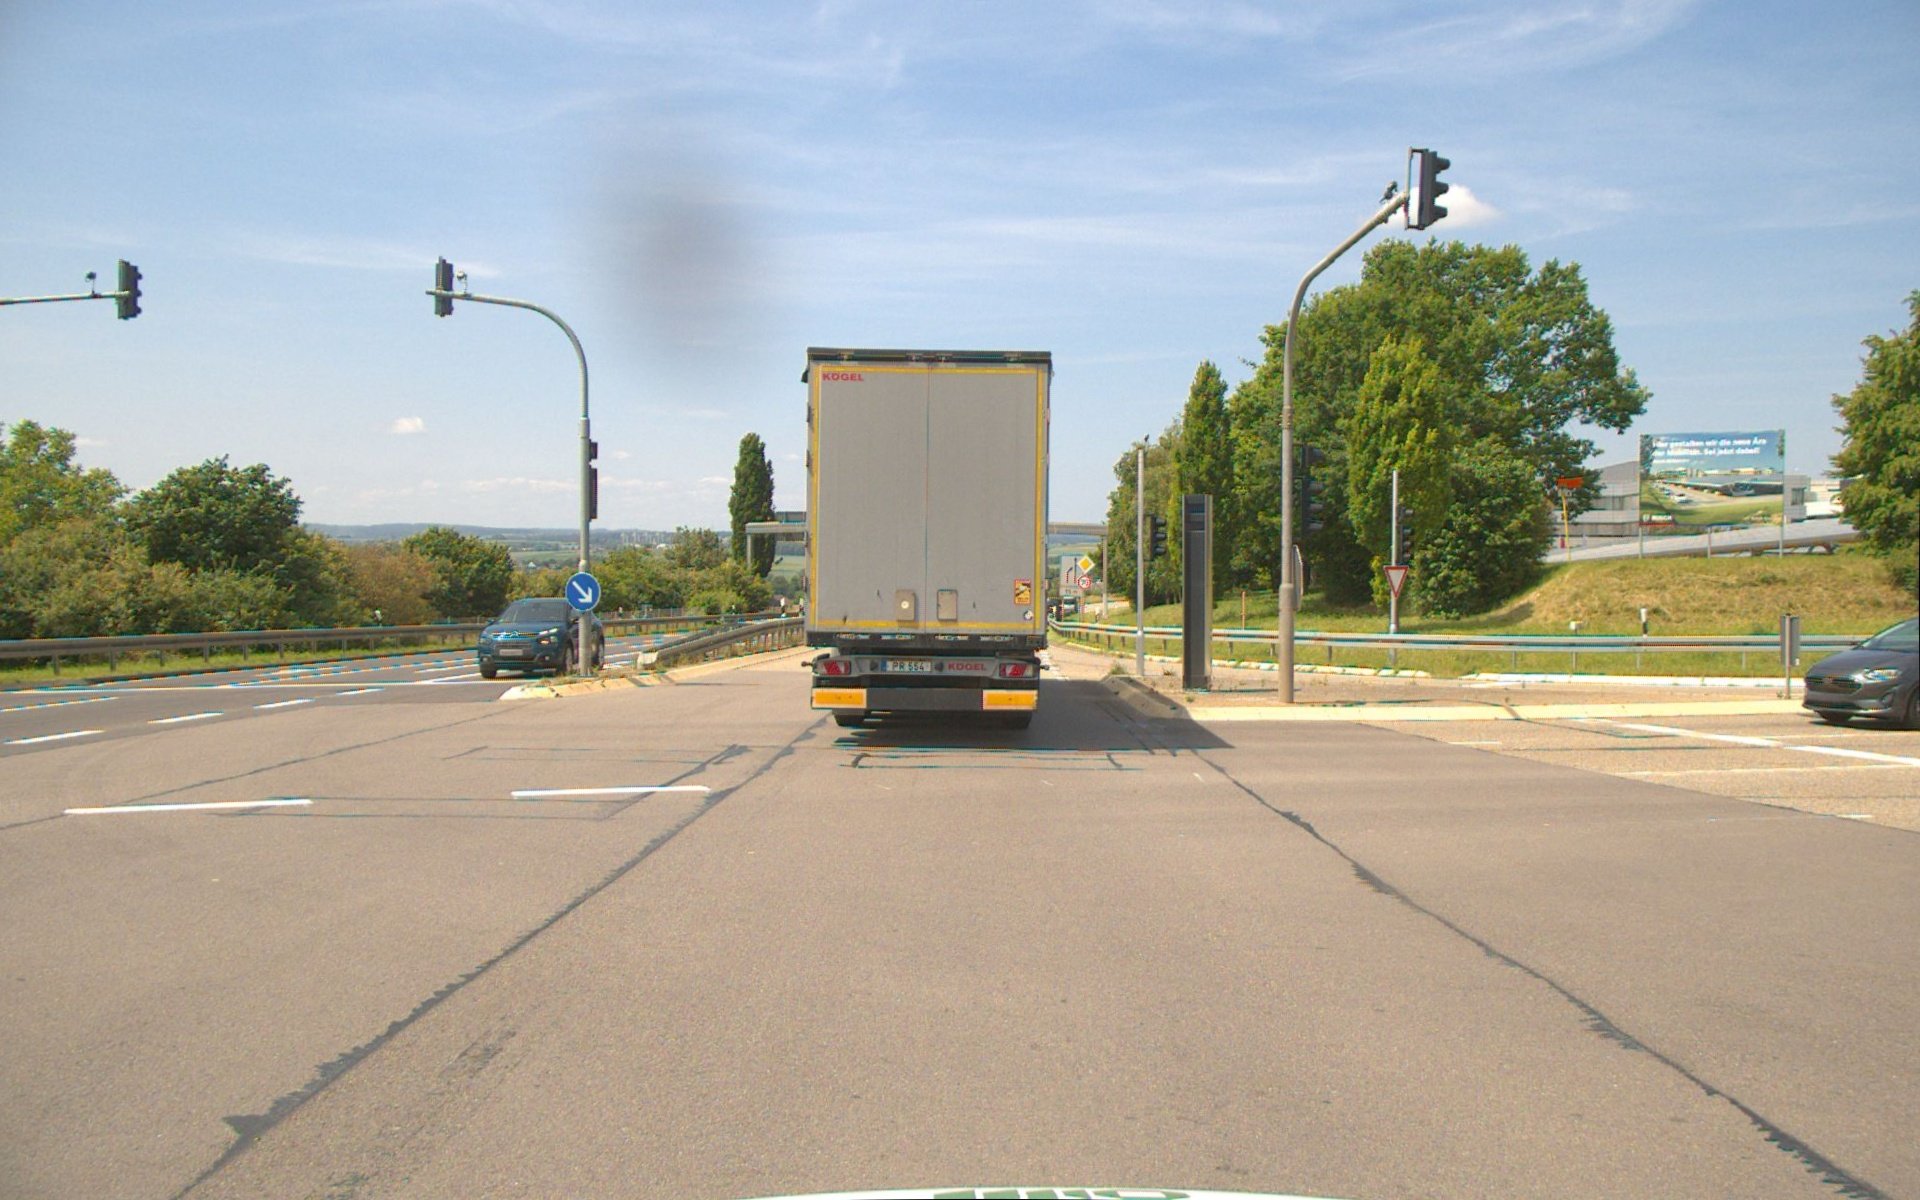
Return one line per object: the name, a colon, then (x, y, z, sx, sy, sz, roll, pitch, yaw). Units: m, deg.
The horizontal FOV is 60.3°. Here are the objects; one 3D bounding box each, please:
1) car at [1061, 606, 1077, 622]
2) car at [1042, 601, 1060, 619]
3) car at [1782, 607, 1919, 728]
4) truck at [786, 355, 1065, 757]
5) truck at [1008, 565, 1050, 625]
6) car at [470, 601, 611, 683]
car: (11.977, 1.545, 182.056, 1.749, 1.717, 4.001, 1, -1, 3)
car: (8.974, 0.998, 163.228, 1.749, 1.717, 4.001, 1, -1, 3)
car: (13.330, 0.886, 22.178, 3.914, 1.537, 1.712, 1, -1, -10)
truck: (-0.627, -0.437, 22.334, 2.743, 3.998, 11.334, 1, 0, -3)
truck: (4.840, -0.249, 114.109, 2.600, 3.830, 10.165, 1, -1, 4)
car: (-8.272, 0.786, 32.968, 1.719, 1.494, 4.196, -1, 0, 0)
